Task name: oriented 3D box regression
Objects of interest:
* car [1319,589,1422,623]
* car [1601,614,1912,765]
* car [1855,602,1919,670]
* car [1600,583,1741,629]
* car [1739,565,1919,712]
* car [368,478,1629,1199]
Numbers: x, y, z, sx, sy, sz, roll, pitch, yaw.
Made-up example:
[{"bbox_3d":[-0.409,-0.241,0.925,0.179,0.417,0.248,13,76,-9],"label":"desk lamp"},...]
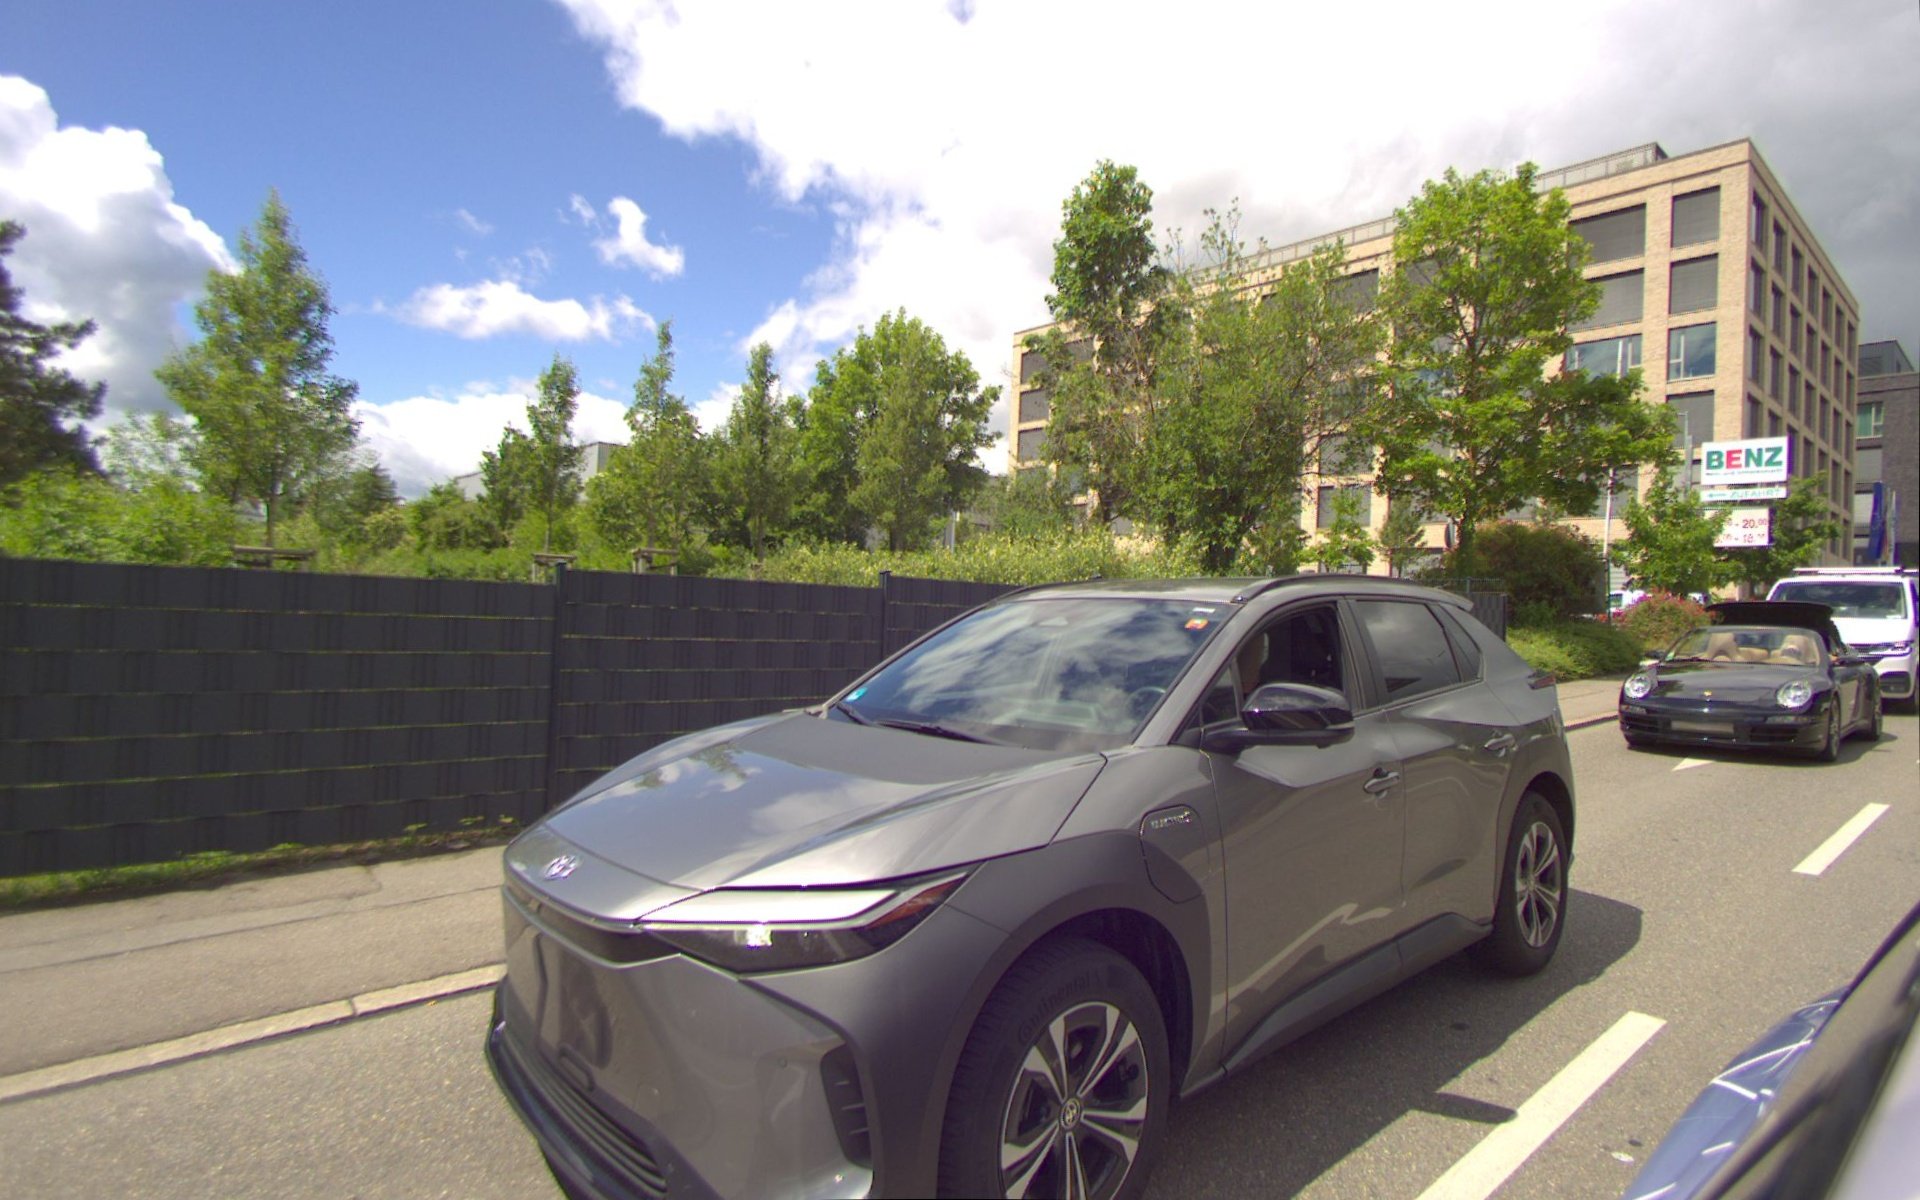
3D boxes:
[{"bbox_3d":[19.335,0.259,47.809,1.705,1.436,4.215,1,1,-41],"label":"car"},{"bbox_3d":[8.783,0.815,11.007,4.487,1.290,1.776,0,-1,-40],"label":"car"},{"bbox_3d":[20.500,0.720,21.237,4.485,1.290,1.778,0,1,-38],"label":"car"},{"bbox_3d":[27.501,0.213,39.254,1.707,1.596,4.211,1,1,-44],"label":"car"},{"bbox_3d":[13.404,0.506,15.087,4.563,1.874,1.962,0,-1,-41],"label":"car"},{"bbox_3d":[0.627,0.653,3.747,4.601,1.634,1.922,0,-1,-41],"label":"car"}]
